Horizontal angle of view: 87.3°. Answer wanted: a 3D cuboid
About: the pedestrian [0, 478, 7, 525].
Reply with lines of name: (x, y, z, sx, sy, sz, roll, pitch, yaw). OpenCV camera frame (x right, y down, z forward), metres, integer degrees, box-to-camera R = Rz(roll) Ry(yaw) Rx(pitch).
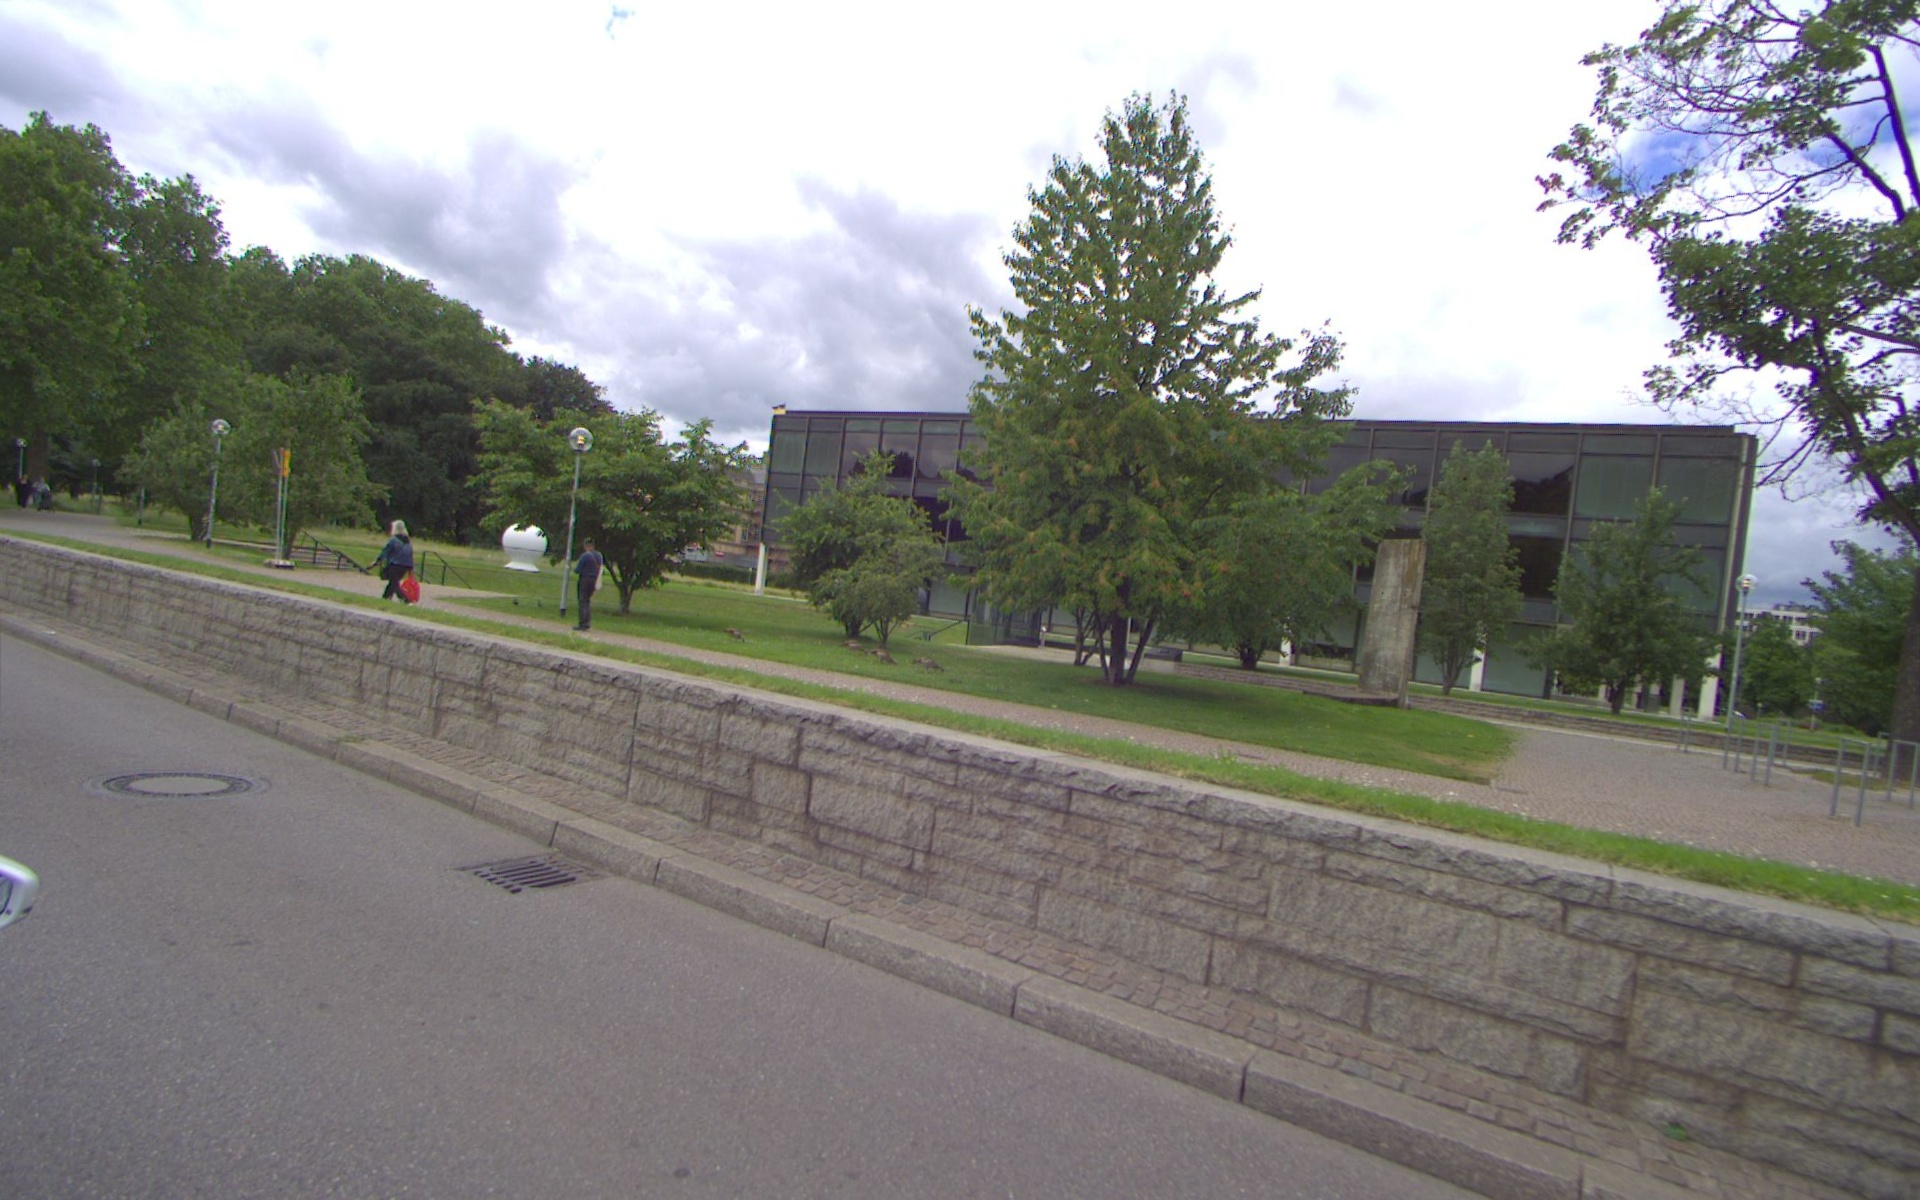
pedestrian: (-17.247, -1.354, 17.452, 0.672, 1.674, 0.699, 6, -2, 29)

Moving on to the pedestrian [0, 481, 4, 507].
pedestrian: (-49.464, -5.457, 51.436, 0.533, 1.339, 0.583, 6, -3, 31)

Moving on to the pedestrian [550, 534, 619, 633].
pedestrian: (-6.741, -0.288, 18.068, 0.617, 1.646, 0.801, 8, 1, 38)

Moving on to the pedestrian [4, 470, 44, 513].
pedestrian: (-42.392, -4.910, 45.556, 0.952, 1.752, 0.898, 7, -2, 31)

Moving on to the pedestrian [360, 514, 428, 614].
pedestrian: (-9.631, -0.610, 17.107, 0.680, 1.581, 0.897, 6, 1, -42)

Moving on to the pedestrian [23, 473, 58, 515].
pedestrian: (-45.602, -5.249, 49.875, 1.016, 1.857, 0.995, 6, -3, 42)

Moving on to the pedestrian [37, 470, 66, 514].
pedestrian: (-44.303, -5.270, 49.060, 0.917, 2.036, 0.571, 6, -2, 31)
